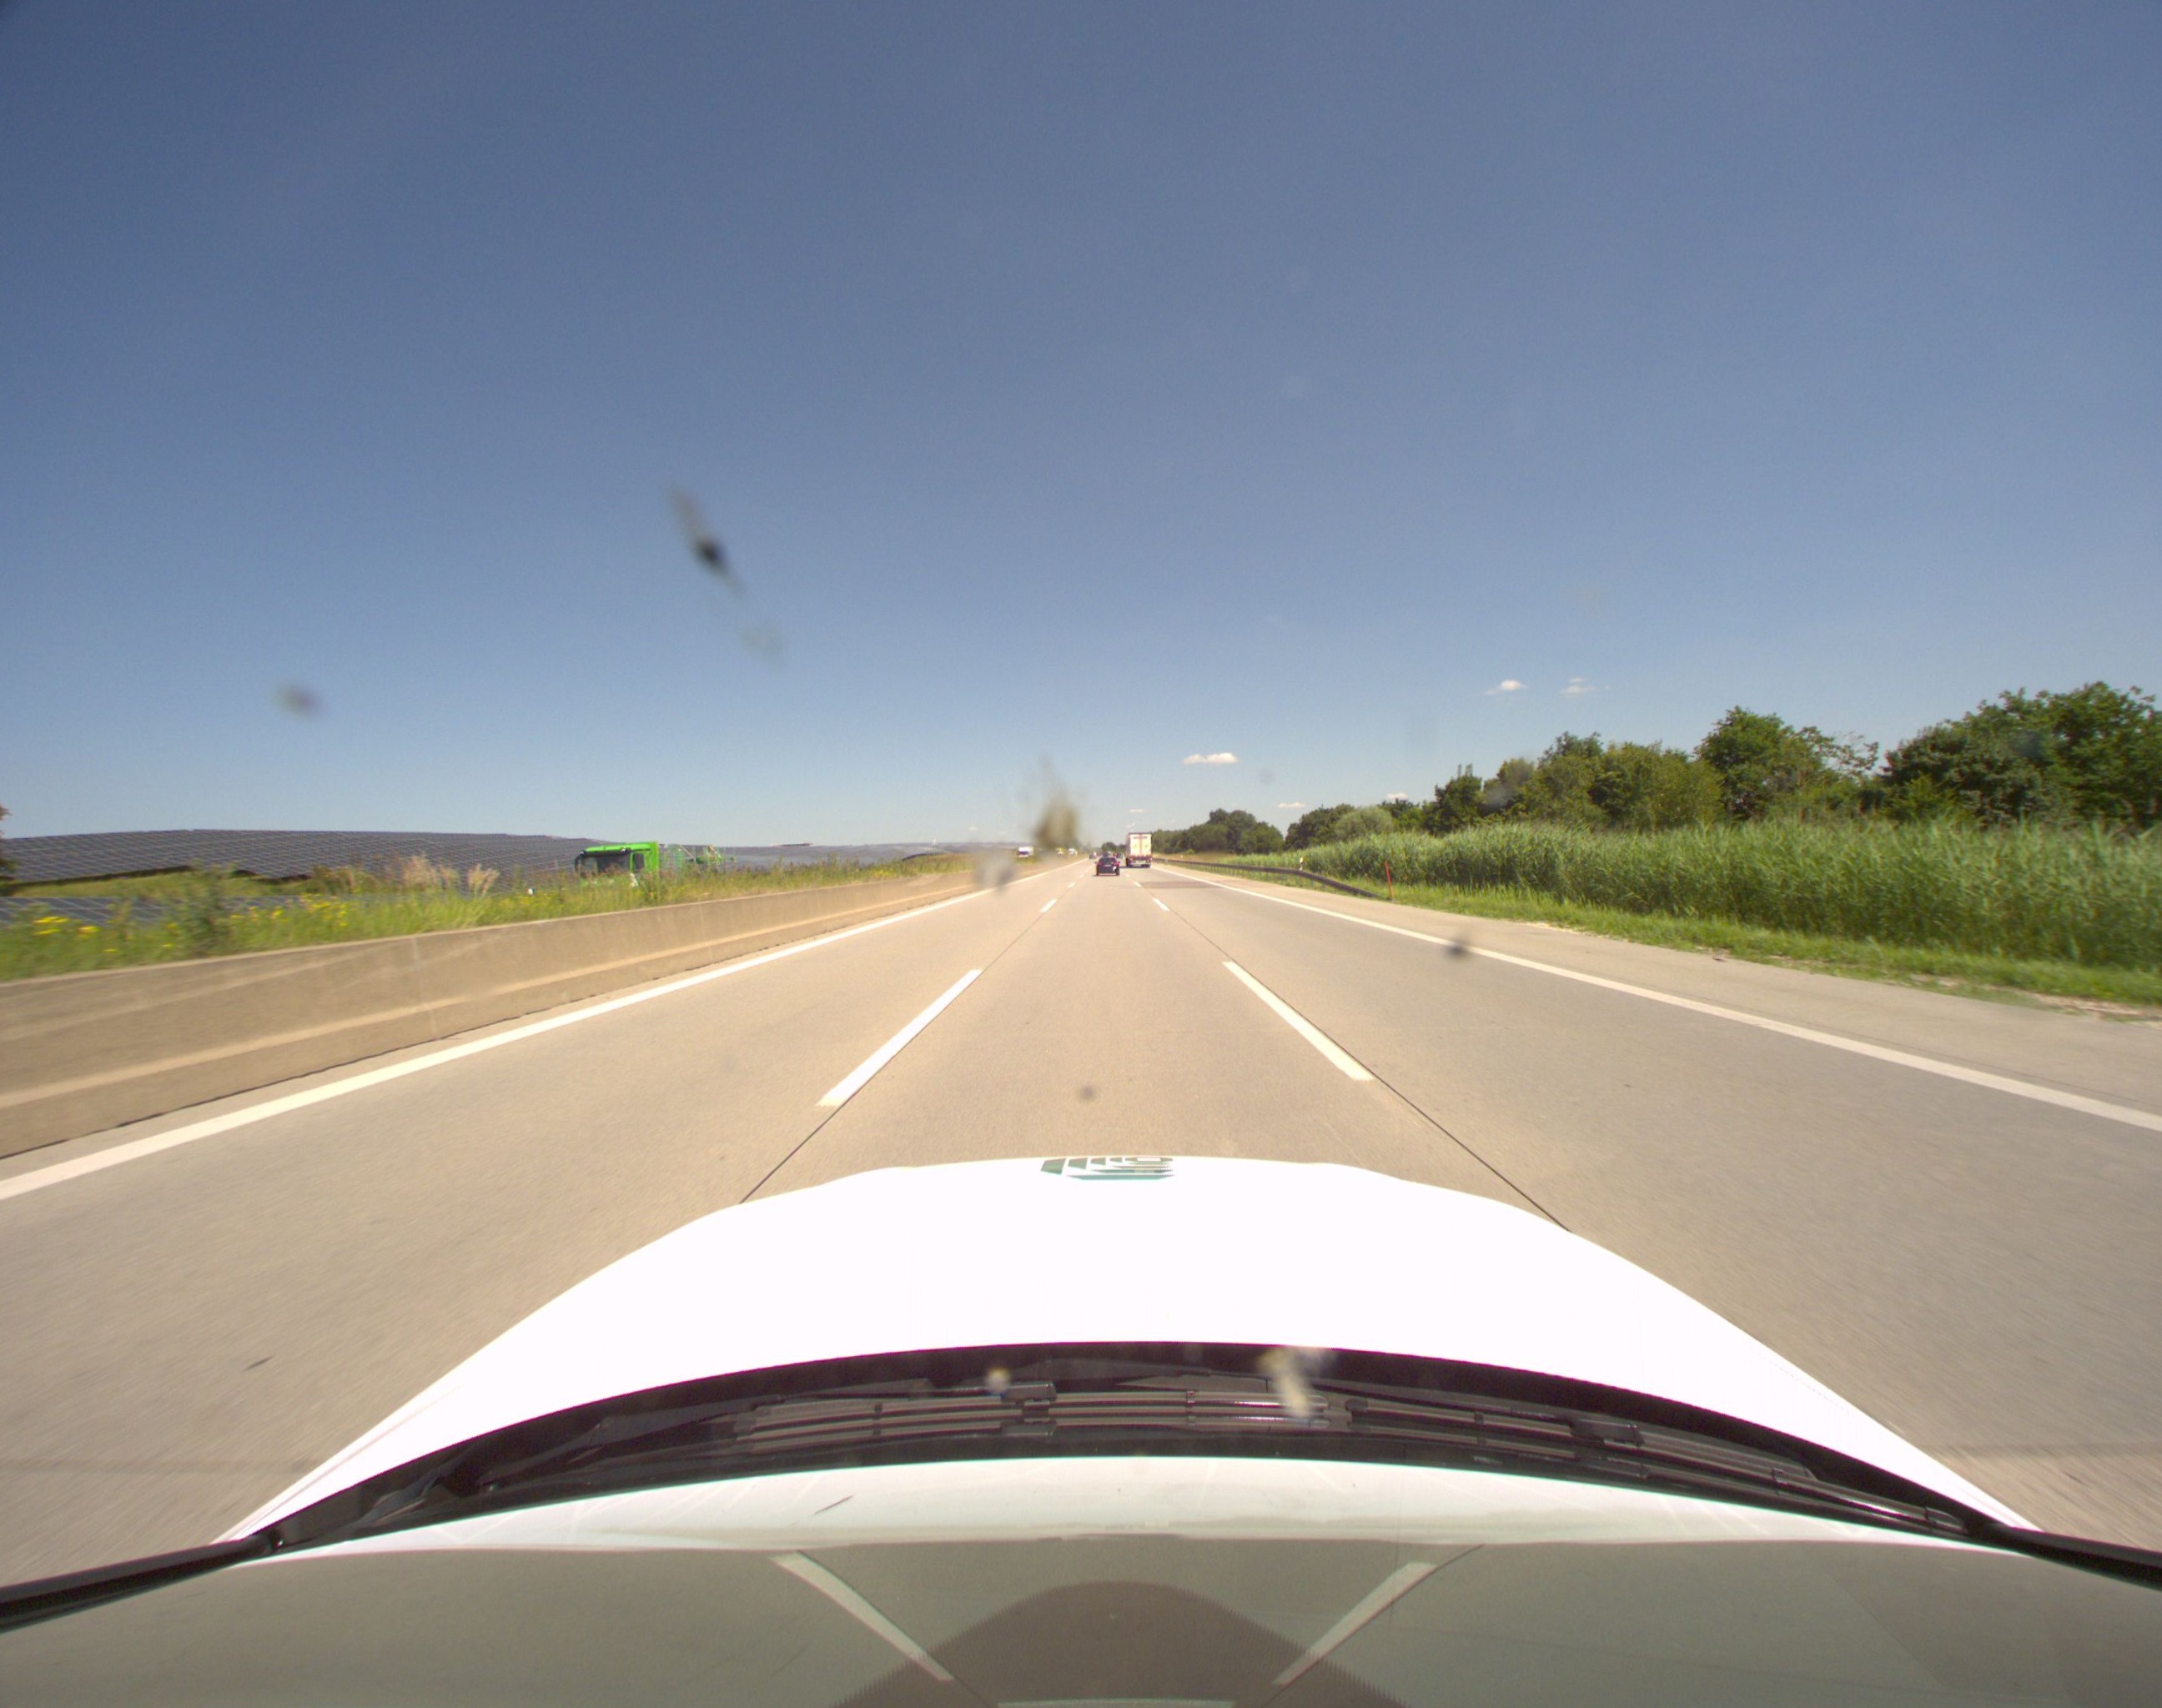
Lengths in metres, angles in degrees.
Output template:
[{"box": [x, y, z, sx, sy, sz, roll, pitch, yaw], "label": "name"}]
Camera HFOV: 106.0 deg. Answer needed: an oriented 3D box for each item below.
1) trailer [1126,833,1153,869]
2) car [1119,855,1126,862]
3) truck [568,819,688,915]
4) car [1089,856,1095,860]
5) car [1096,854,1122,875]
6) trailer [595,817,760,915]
[{"box": [7.006, -0.283, 98.253, 2.841, 4.042, 12.720, 0, 0, 2], "label": "trailer"}, {"box": [12.110, 1.265, 237.798, 1.819, 1.907, 4.003, -1, 0, 3], "label": "car"}, {"box": [-19.735, 0.531, 35.776, 2.735, 3.951, 4.354, 0, 0, 2], "label": "truck"}, {"box": [3.150, 1.100, 228.112, 1.649, 1.196, 3.961, 2, 0, 2], "label": "car"}, {"box": [2.108, 0.773, 62.148, 1.903, 1.492, 4.193, 0, 0, 1], "label": "car"}, {"box": [-19.517, 0.521, 40.398, 2.722, 4.191, 10.261, -1, 0, 2], "label": "trailer"}]
